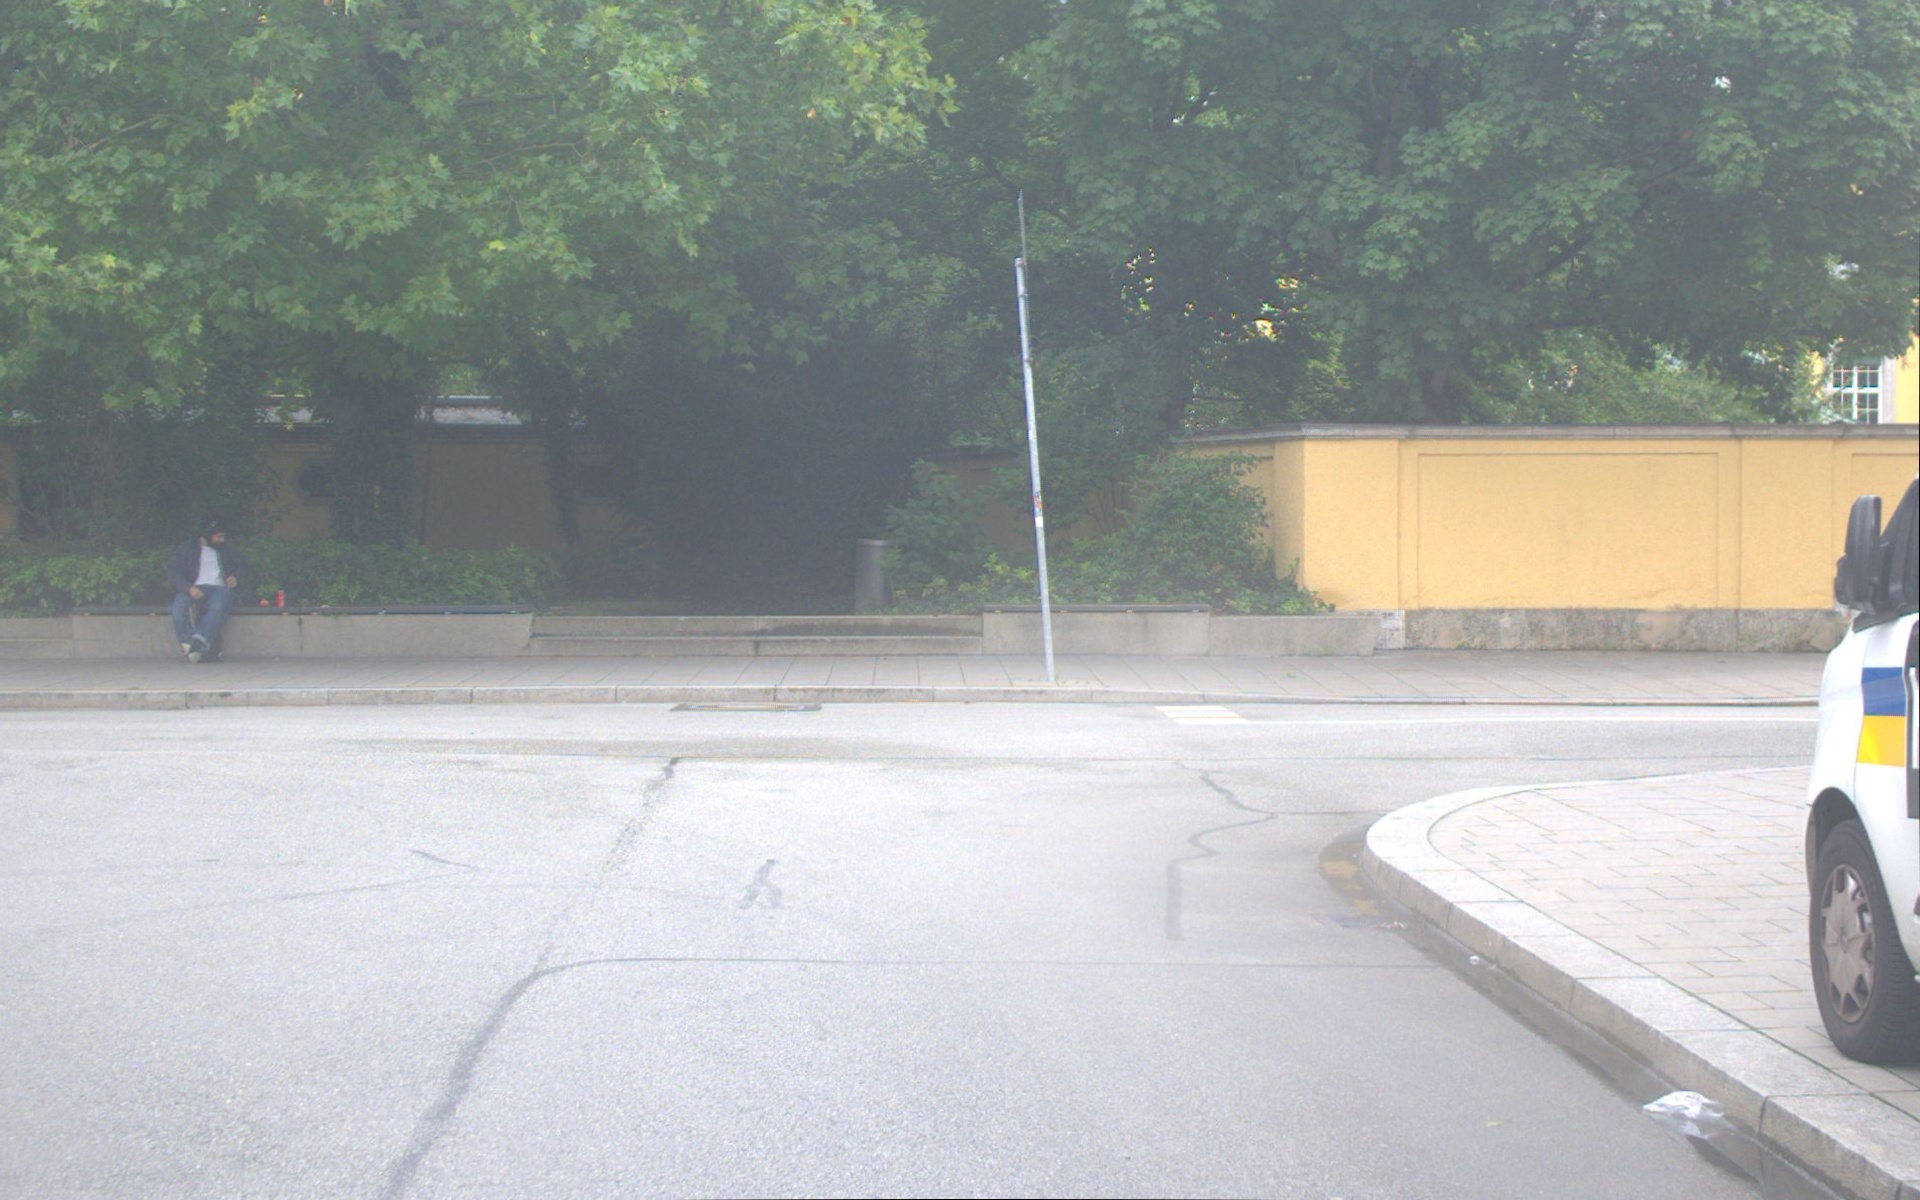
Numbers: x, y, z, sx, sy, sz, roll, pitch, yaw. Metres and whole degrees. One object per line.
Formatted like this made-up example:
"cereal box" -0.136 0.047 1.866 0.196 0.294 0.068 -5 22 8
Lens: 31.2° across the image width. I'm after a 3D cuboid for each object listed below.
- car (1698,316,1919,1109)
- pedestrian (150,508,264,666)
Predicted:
"car" 3.325 0.280 7.535 1.938 1.915 5.375 -1 2 -3
"pedestrian" -6.560 -0.127 29.998 0.769 1.352 1.131 0 1 -1
